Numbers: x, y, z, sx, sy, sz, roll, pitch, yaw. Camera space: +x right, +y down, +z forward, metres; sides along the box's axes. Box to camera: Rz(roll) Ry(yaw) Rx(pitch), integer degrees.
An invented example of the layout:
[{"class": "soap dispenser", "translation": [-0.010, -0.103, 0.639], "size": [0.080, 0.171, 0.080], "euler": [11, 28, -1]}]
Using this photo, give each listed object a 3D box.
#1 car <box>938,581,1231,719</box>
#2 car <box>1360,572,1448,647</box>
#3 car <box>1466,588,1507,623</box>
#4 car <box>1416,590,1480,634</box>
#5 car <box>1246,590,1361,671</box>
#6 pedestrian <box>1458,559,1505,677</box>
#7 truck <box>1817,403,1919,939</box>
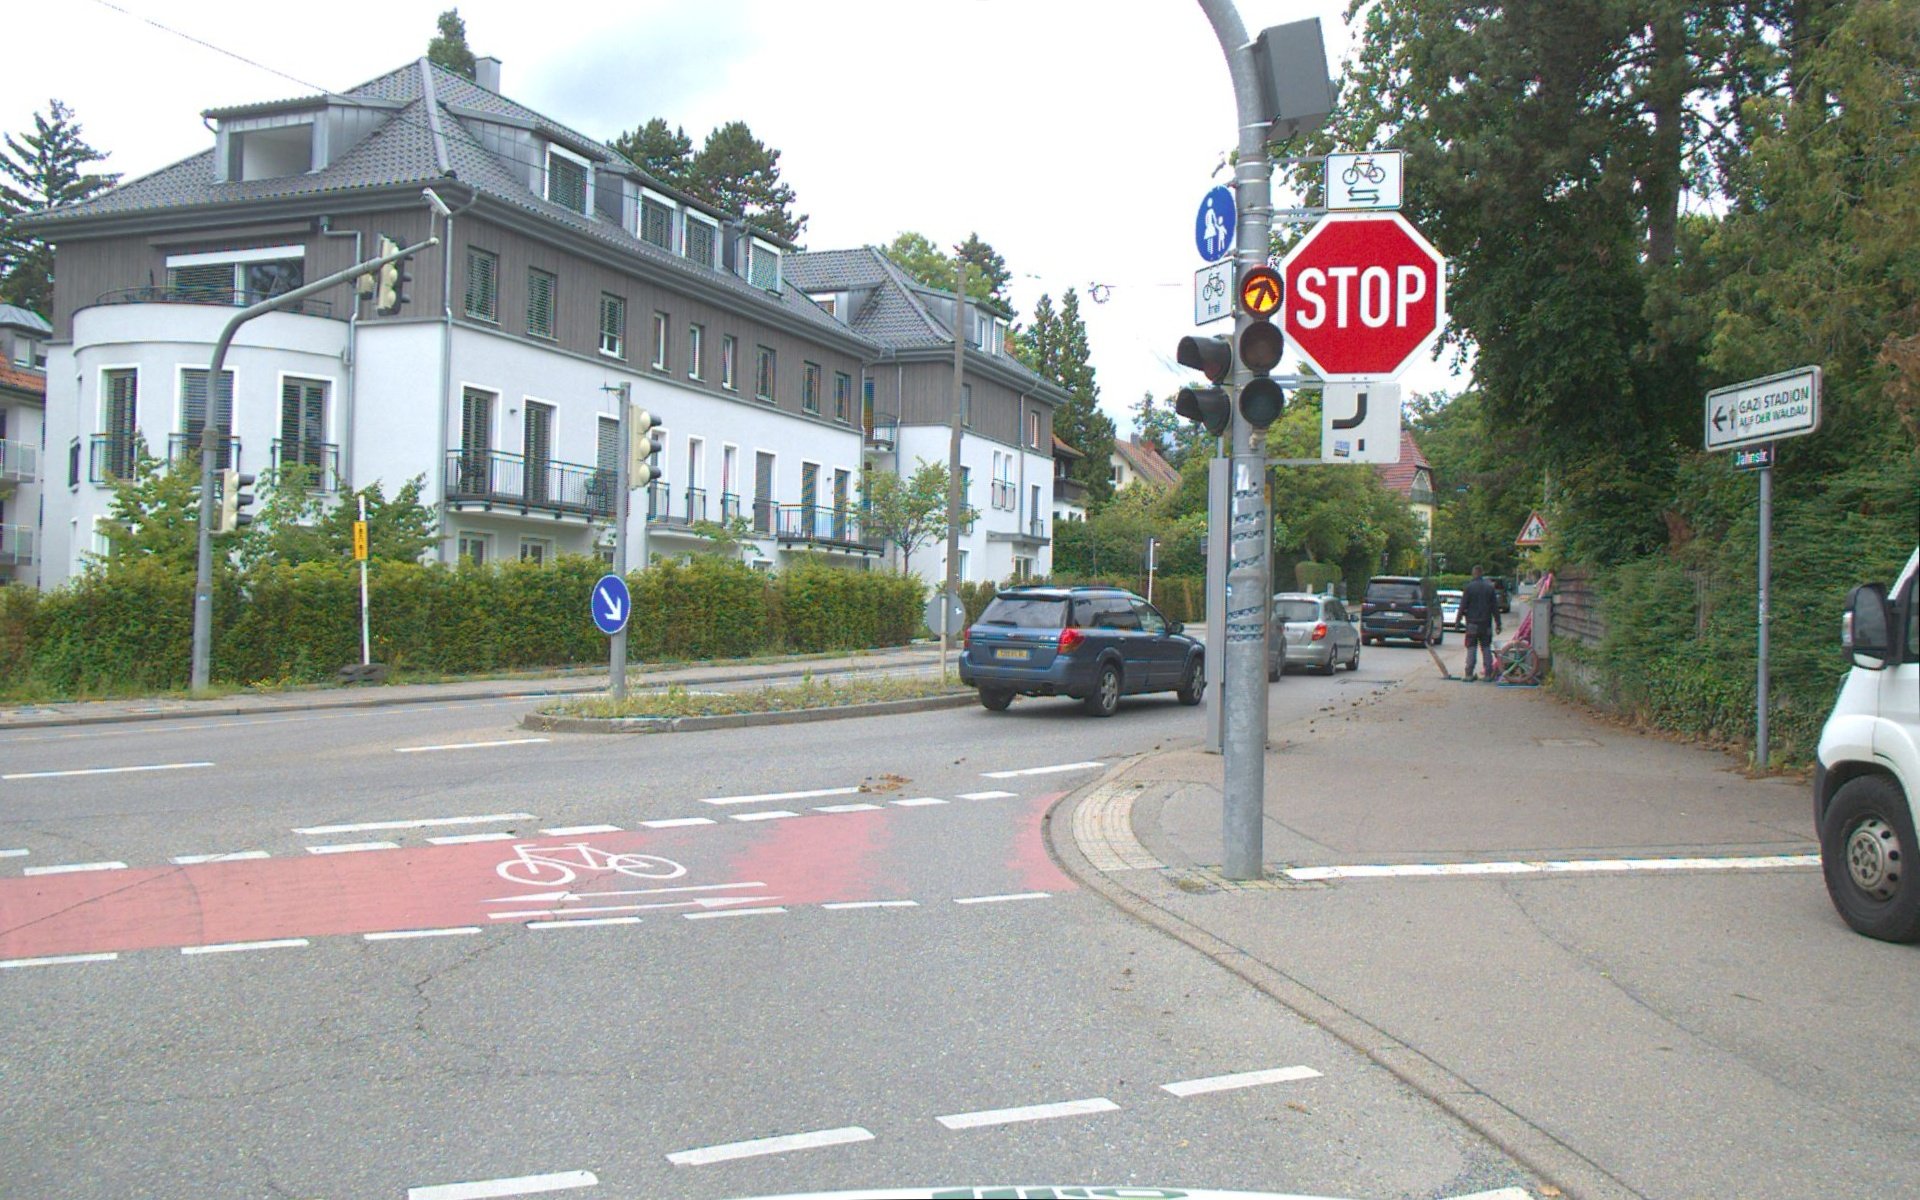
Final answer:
[{"class": "car", "translation": [1.728, 0.553, 21.103], "size": [1.767, 1.553, 4.732], "euler": [-1, 0, 31]}, {"class": "car", "translation": [12.502, 0.226, 46.399], "size": [1.879, 1.927, 4.909], "euler": [2, 1, 20]}, {"class": "car", "translation": [29.654, 0.285, 93.071], "size": [1.899, 1.857, 4.078], "euler": [2, 1, 21]}, {"class": "car", "translation": [17.887, 0.417, 60.482], "size": [1.804, 1.485, 4.077], "euler": [2, 1, 22]}, {"class": "car", "translation": [6.642, 0.539, 31.751], "size": [1.659, 1.455, 3.749], "euler": [-1, 0, 19]}, {"class": "pedestrian", "translation": [8.682, 0.295, 27.536], "size": [0.584, 1.940, 0.558], "euler": [1, 0, 0]}, {"class": "truck", "translation": [5.136, 0.318, 5.030], "size": [2.162, 2.283, 5.724], "euler": [1, 0, 1]}]
